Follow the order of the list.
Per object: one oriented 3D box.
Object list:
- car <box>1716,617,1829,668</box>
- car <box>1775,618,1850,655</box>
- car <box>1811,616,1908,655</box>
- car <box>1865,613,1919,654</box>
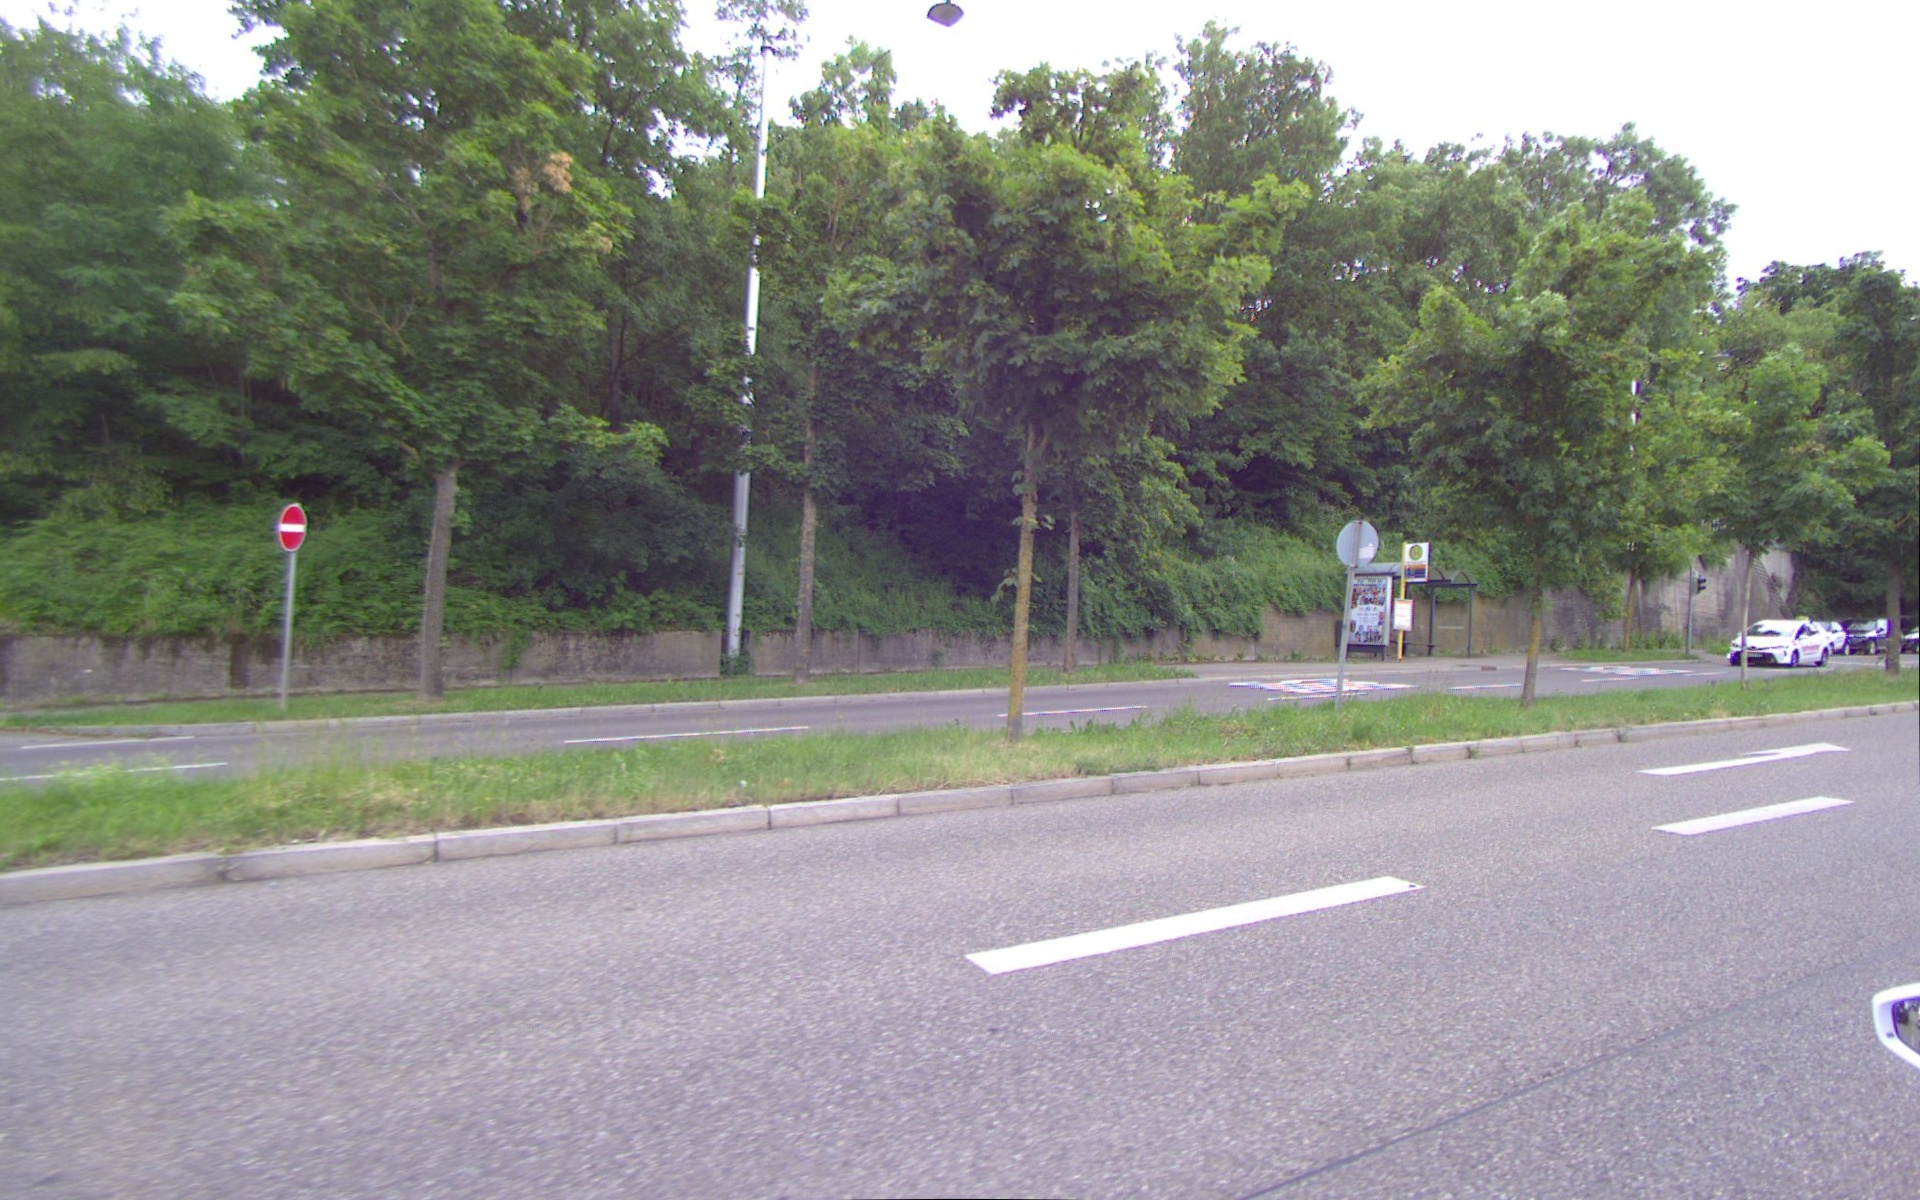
[{"bbox_3d":[28.189,1.426,34.806,4.411,1.581,1.769,1,1,-33],"label":"car"},{"bbox_3d":[38.022,1.590,44.793,3.064,1.518,1.769,0,1,-33],"label":"car"},{"bbox_3d":[42.080,1.645,46.983,4.476,1.679,1.961,1,1,-28],"label":"car"},{"bbox_3d":[46.978,1.637,49.790,4.434,1.868,1.772,1,1,-29],"label":"car"}]
